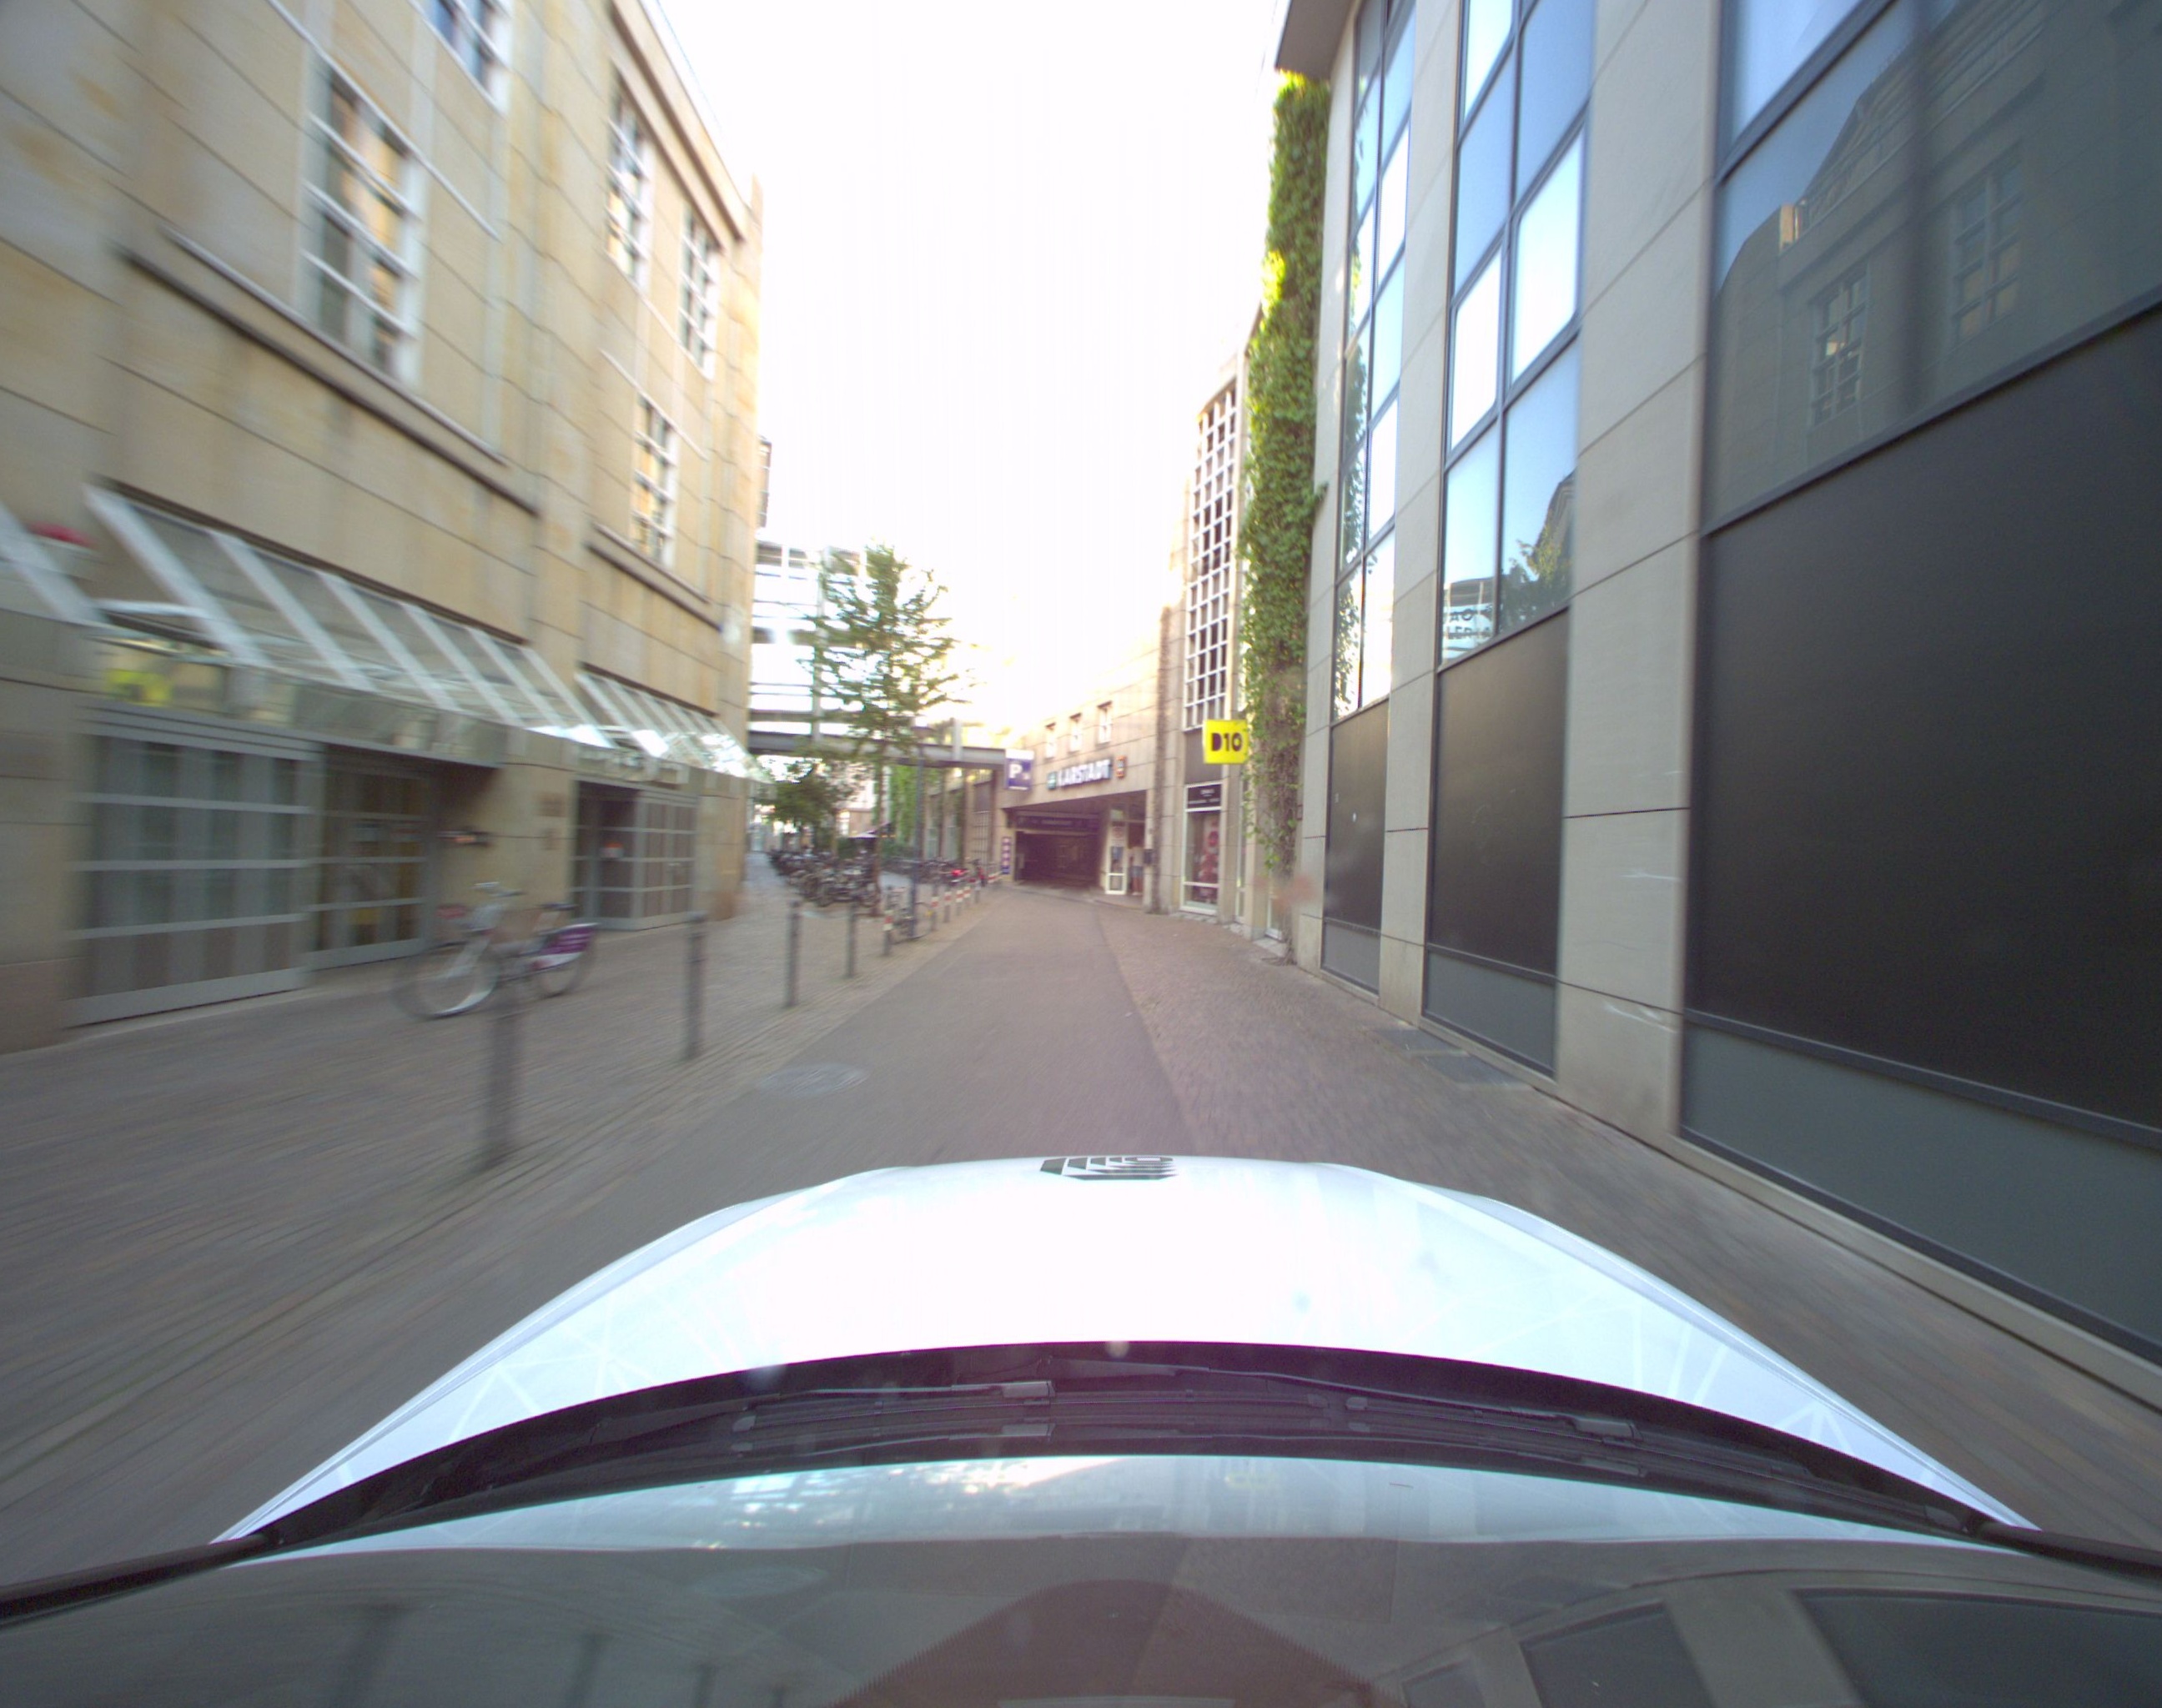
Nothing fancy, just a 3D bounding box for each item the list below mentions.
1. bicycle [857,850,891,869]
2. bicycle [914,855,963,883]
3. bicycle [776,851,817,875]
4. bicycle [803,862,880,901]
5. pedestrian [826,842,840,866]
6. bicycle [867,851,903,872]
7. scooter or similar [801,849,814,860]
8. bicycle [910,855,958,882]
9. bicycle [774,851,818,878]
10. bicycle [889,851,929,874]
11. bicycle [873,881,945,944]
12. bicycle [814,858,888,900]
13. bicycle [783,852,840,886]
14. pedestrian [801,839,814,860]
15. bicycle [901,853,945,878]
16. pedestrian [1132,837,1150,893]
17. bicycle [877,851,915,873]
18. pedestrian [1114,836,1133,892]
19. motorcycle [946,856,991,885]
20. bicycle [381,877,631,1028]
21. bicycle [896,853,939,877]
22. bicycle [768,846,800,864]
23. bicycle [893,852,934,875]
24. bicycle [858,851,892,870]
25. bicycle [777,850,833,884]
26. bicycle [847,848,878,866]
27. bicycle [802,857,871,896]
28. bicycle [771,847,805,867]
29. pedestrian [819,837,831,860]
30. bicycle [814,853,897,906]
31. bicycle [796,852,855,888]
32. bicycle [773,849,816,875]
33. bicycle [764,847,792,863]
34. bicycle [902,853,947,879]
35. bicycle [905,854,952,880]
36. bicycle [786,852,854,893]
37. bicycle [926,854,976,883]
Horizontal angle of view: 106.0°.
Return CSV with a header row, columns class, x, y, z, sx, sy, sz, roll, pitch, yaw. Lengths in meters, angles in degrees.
class,x,y,z,sx,sy,sz,roll,pitch,yaw
bicycle,-13.117,0.355,51.612,2.001,1.182,0.689,0,1,-21
bicycle,-6.174,0.637,35.313,2.001,1.182,0.691,0,1,-21
bicycle,-14.758,0.465,42.287,1.918,1.182,0.692,2,0,-18
bicycle,-6.466,0.753,21.989,1.920,0.994,0.691,2,0,-21
pedestrian,-15.547,-0.003,51.027,0.751,1.509,0.633,2,0,-23
bicycle,-11.319,0.403,47.002,2.001,1.182,0.689,0,1,-21
scooter or similar,-21.565,0.059,64.304,0.895,0.843,0.905,2,0,-22
bicycle,-6.523,0.623,36.185,2.001,1.182,0.797,0,1,-21
bicycle,-13.515,0.500,38.675,1.918,1.182,0.692,2,0,-18
bicycle,-9.041,0.458,42.886,2.001,1.182,0.689,0,1,-21
bicycle,-2.990,0.991,14.321,0.501,0.966,1.701,1,0,14
bicycle,-6.473,0.704,22.908,1.920,1.101,0.691,2,0,-21
bicycle,-9.690,0.539,29.342,1.918,1.182,0.692,2,0,-18
pedestrian,-21.894,-0.329,65.161,0.895,1.639,0.905,2,0,-22
bicycle,-7.712,0.548,39.728,2.001,1.182,0.689,0,1,-21
pedestrian,2.043,0.361,27.565,0.540,1.861,0.409,2,1,5
bicycle,-10.241,0.429,45.173,2.001,1.182,0.689,0,1,-21
pedestrian,1.454,0.336,27.786,0.540,1.846,0.409,2,1,5
motorcycle,-4.538,0.666,32.822,1.750,1.155,0.591,0,0,-18
bicycle,-5.047,0.798,7.316,0.688,1.112,1.783,1,0,14
bicycle,-8.148,0.529,40.600,2.001,1.182,0.689,0,1,-21
bicycle,-19.662,0.064,53.996,1.918,1.182,0.692,2,0,-18
bicycle,-8.584,0.486,41.825,2.001,1.182,0.689,0,1,-21
bicycle,-12.833,0.379,50.810,2.001,1.182,0.689,0,1,-21
bicycle,-10.267,0.488,30.369,1.918,1.182,0.692,2,0,-18
bicycle,-15.052,0.206,56.050,2.001,1.182,0.689,0,1,-21
bicycle,-7.219,0.660,24.075,1.918,1.101,0.692,2,0,-18
bicycle,-18.018,0.193,50.066,1.918,1.182,0.692,2,0,-18
pedestrian,-20.115,-0.450,64.051,0.768,1.804,0.771,2,0,-22
bicycle,-5.707,0.645,20.596,1.920,1.261,0.803,2,0,-21
bicycle,-8.970,0.567,28.622,1.918,1.182,0.692,2,0,-18
bicycle,-13.883,0.388,39.473,1.918,1.182,0.692,2,0,-18
bicycle,-23.643,0.047,63.549,1.918,1.182,0.692,2,0,-18
bicycle,-7.442,0.557,38.748,2.001,1.182,0.797,0,1,-21
bicycle,-6.987,0.583,37.306,2.001,1.182,0.797,0,1,-21
bicycle,-7.994,0.568,24.955,1.918,1.182,0.692,2,0,-18
bicycle,-5.522,0.609,34.471,2.001,1.182,0.691,0,1,-21
